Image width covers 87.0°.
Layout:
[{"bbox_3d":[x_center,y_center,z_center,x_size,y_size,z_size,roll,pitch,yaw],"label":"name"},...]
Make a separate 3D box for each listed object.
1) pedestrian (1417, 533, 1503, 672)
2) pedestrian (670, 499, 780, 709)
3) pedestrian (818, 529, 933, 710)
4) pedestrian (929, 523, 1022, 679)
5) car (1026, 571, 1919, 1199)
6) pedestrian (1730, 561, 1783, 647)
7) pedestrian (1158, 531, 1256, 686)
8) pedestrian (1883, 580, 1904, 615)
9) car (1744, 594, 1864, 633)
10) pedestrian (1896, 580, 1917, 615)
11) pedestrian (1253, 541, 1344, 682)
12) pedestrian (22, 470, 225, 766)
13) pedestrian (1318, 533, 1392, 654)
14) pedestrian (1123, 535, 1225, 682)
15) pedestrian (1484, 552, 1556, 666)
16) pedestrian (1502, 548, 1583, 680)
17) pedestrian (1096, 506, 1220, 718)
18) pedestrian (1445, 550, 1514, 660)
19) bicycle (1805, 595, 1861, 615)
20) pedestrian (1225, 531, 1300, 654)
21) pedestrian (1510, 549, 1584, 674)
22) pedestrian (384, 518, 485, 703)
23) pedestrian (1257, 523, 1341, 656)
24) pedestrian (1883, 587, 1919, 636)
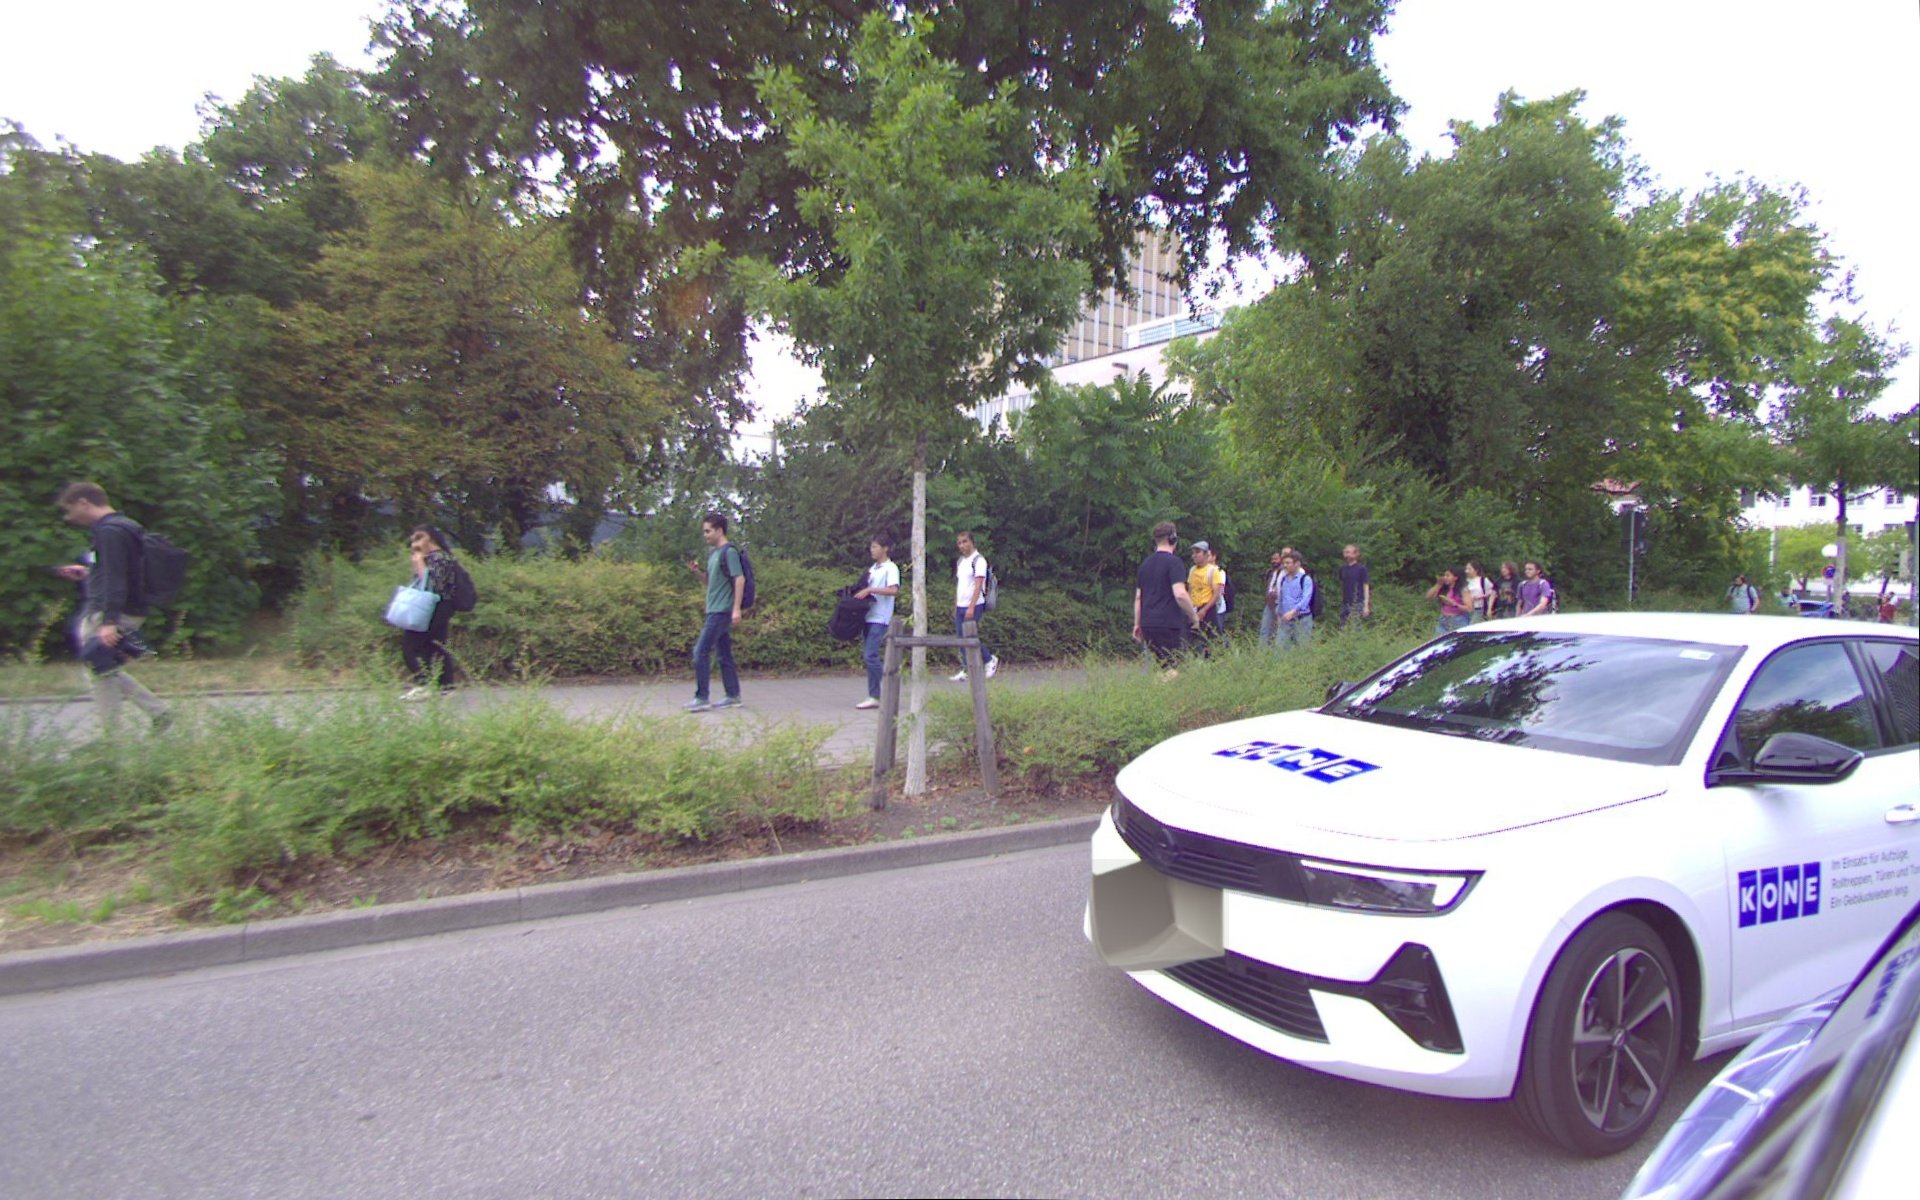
[{"bbox_3d":[6.582,0.026,13.326,0.765,1.766,0.659,1,2,-32],"label":"pedestrian"},{"bbox_3d":[-2.180,0.025,9.351,0.796,1.843,0.659,1,2,-30],"label":"pedestrian"},{"bbox_3d":[-0.809,0.164,9.593,0.796,1.622,0.779,1,2,-30],"label":"pedestrian"},{"bbox_3d":[0.179,0.001,11.969,0.796,1.766,0.724,1,2,-30],"label":"pedestrian"},{"bbox_3d":[2.769,0.681,4.034,4.682,1.456,1.749,1,2,-23],"label":"car"},{"bbox_3d":[17.313,0.076,22.001,0.726,1.817,0.647,1,1,-32],"label":"pedestrian"},{"bbox_3d":[2.840,0.087,11.654,0.825,1.710,0.659,1,2,-32],"label":"pedestrian"},{"bbox_3d":[53.764,-0.131,58.286,0.677,1.988,0.599,1,0,18],"label":"pedestrian"},{"bbox_3d":[36.024,0.540,43.271,1.642,1.510,3.585,0,2,-33],"label":"car"},{"bbox_3d":[54.519,-0.154,58.286,0.677,1.988,0.599,1,0,18],"label":"pedestrian"},{"bbox_3d":[4.163,0.129,12.454,0.796,1.668,0.659,1,2,-32],"label":"pedestrian"},{"bbox_3d":[-5.590,0.103,6.827,0.935,1.843,0.696,1,2,-30],"label":"pedestrian"},{"bbox_3d":[5.968,-0.101,15.294,0.765,1.766,0.659,1,2,-32],"label":"pedestrian"},{"bbox_3d":[2.560,0.086,12.112,0.952,1.687,0.659,1,2,-32],"label":"pedestrian"},{"bbox_3d":[8.950,0.137,16.183,0.765,1.766,0.659,1,2,-32],"label":"pedestrian"},{"bbox_3d":[8.014,0.178,13.936,0.765,1.766,0.627,1,2,-32],"label":"pedestrian"},{"bbox_3d":[1.818,0.092,9.422,0.869,1.853,0.938,2,1,-3],"label":"pedestrian"},{"bbox_3d":[8.601,0.067,16.770,0.765,1.766,0.659,1,2,-32],"label":"pedestrian"},{"bbox_3d":[54.110,0.309,62.749,0.703,1.156,2.476,1,2,-32],"label":"bicycle"},{"bbox_3d":[4.397,-0.116,14.729,0.765,1.720,0.659,1,2,-32],"label":"pedestrian"},{"bbox_3d":[8.542,0.156,14.723,0.774,1.766,0.583,1,2,-32],"label":"pedestrian"},{"bbox_3d":[-4.785,0.082,9.212,0.769,1.603,0.638,1,2,-30],"label":"pedestrian"},{"bbox_3d":[4.720,-0.142,14.093,0.939,1.789,0.659,1,0,-32],"label":"pedestrian"},{"bbox_3d":[36.019,0.427,38.716,0.873,1.827,0.771,1,0,-28],"label":"pedestrian"}]
